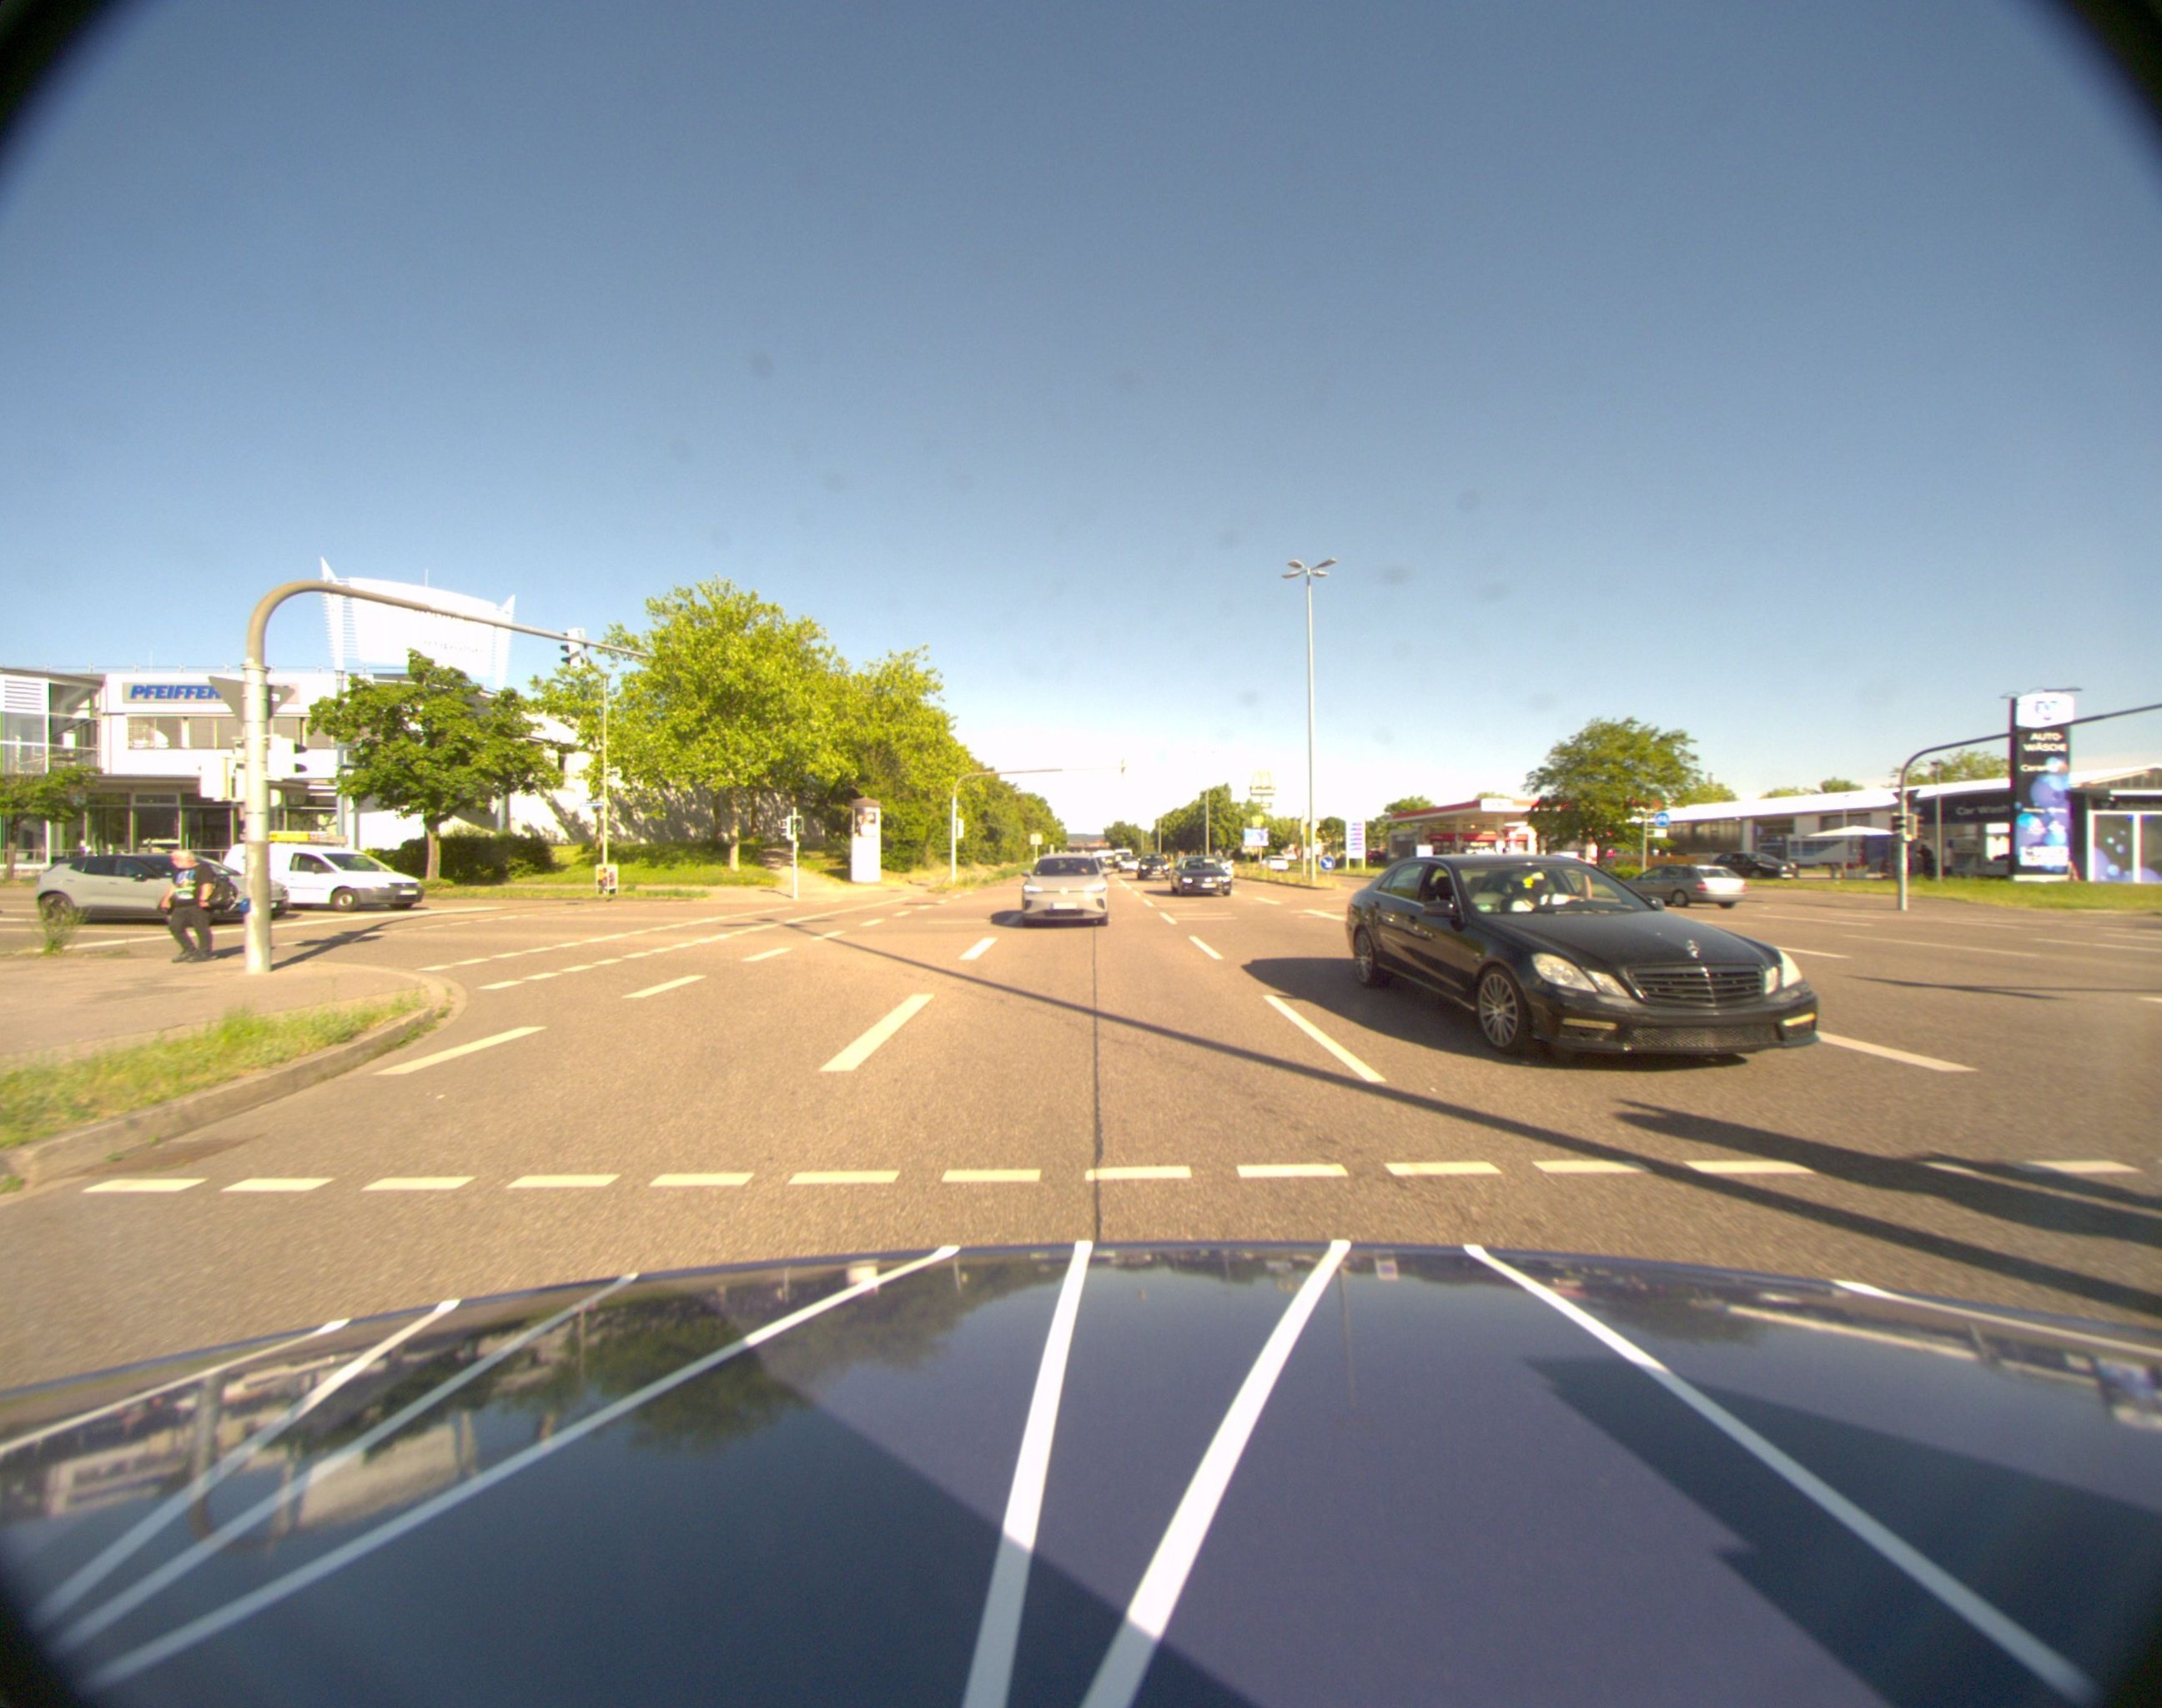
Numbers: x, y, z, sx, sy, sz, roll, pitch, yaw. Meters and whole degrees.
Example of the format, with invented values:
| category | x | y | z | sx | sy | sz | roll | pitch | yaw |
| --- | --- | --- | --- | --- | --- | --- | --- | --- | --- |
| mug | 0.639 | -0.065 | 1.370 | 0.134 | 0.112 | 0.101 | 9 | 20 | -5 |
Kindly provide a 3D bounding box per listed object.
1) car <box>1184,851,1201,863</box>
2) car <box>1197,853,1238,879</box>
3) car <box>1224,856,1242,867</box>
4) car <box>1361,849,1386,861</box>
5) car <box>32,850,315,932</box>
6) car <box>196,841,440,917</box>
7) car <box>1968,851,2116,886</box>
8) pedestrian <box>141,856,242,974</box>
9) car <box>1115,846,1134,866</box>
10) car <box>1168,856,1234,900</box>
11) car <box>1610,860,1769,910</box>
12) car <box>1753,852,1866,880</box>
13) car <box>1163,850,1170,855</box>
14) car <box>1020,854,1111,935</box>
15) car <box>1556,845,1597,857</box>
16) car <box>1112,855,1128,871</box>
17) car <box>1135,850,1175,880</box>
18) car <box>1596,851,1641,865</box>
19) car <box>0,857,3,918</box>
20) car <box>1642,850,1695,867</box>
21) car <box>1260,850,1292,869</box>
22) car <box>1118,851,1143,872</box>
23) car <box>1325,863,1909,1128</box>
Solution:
| category | x | y | z | sx | sy | sz | roll | pitch | yaw |
| --- | --- | --- | --- | --- | --- | --- | --- | --- | --- |
| car | 13.896 | 0.363 | 94.958 | 1.699 | 1.424 | 3.664 | 1 | 1 | 1 |
| car | 8.161 | 0.693 | 45.706 | 1.790 | 1.447 | 4.116 | 0 | 0 | 1 |
| car | 21.376 | 1.087 | 107.040 | 1.699 | 1.424 | 4.458 | 1 | 1 | 1 |
| car | 39.012 | 0.114 | 101.430 | 1.762 | 1.604 | 4.119 | 1 | 1 | -1 |
| car | -20.236 | 0.779 | 17.089 | 4.100 | 1.636 | 1.901 | 1 | 2 | 2 |
| car | -20.361 | 0.647 | 20.418 | 4.692 | 1.923 | 1.872 | 0 | 1 | 2 |
| car | 42.939 | 0.629 | 34.036 | 4.116 | 1.424 | 1.901 | 1 | 1 | 1 |
| pedestrian | -13.302 | 0.892 | 11.383 | 0.759 | 1.706 | 0.617 | 0 | 1 | 1 |
| car | 5.105 | 0.192 | 89.613 | 2.089 | 2.229 | 4.000 | -2 | 1 | 1 |
| car | 4.392 | 0.829 | 28.310 | 1.848 | 1.445 | 4.265 | -1 | 0 | 1 |
| car | 20.110 | 0.977 | 25.386 | 1.998 | 1.516 | 4.196 | 0 | 0 | 1 |
| car | 37.725 | 0.585 | 39.513 | 1.900 | 1.317 | 4.119 | 1 | 1 | -1 |
| car | 24.091 | -0.436 | 213.724 | 1.699 | 1.424 | 4.458 | 1 | 1 | 1 |
| car | -0.273 | 0.832 | 17.760 | 1.848 | 1.615 | 4.265 | -1 | 0 | 1 |
| car | 56.503 | -0.364 | 86.663 | 1.900 | 1.220 | 4.119 | 1 | 1 | -1 |
| car | 5.246 | 1.222 | 103.615 | 1.998 | 2.002 | 4.000 | -2 | 1 | 1 |
| car | 4.494 | 0.616 | 46.716 | 1.998 | 1.674 | 4.696 | -2 | 1 | 1 |
| car | 56.787 | 0.405 | 80.365 | 1.772 | 1.432 | 4.119 | 0 | 0 | -1 |
| car | -27.479 | 0.732 | 17.082 | 3.928 | 1.580 | 1.808 | 1 | 2 | 2 |
| car | 56.880 | 0.382 | 73.714 | 1.900 | 1.582 | 4.119 | 1 | 1 | 0 |
| car | 17.671 | 0.491 | 69.075 | 1.899 | 1.590 | 4.267 | 1 | 1 | 1 |
| car | 4.382 | 0.654 | 67.644 | 1.998 | 1.779 | 4.270 | -2 | 1 | 1 |
| car | 3.953 | 0.871 | 6.952 | 1.964 | 1.474 | 4.918 | -1 | 0 | 1 |
